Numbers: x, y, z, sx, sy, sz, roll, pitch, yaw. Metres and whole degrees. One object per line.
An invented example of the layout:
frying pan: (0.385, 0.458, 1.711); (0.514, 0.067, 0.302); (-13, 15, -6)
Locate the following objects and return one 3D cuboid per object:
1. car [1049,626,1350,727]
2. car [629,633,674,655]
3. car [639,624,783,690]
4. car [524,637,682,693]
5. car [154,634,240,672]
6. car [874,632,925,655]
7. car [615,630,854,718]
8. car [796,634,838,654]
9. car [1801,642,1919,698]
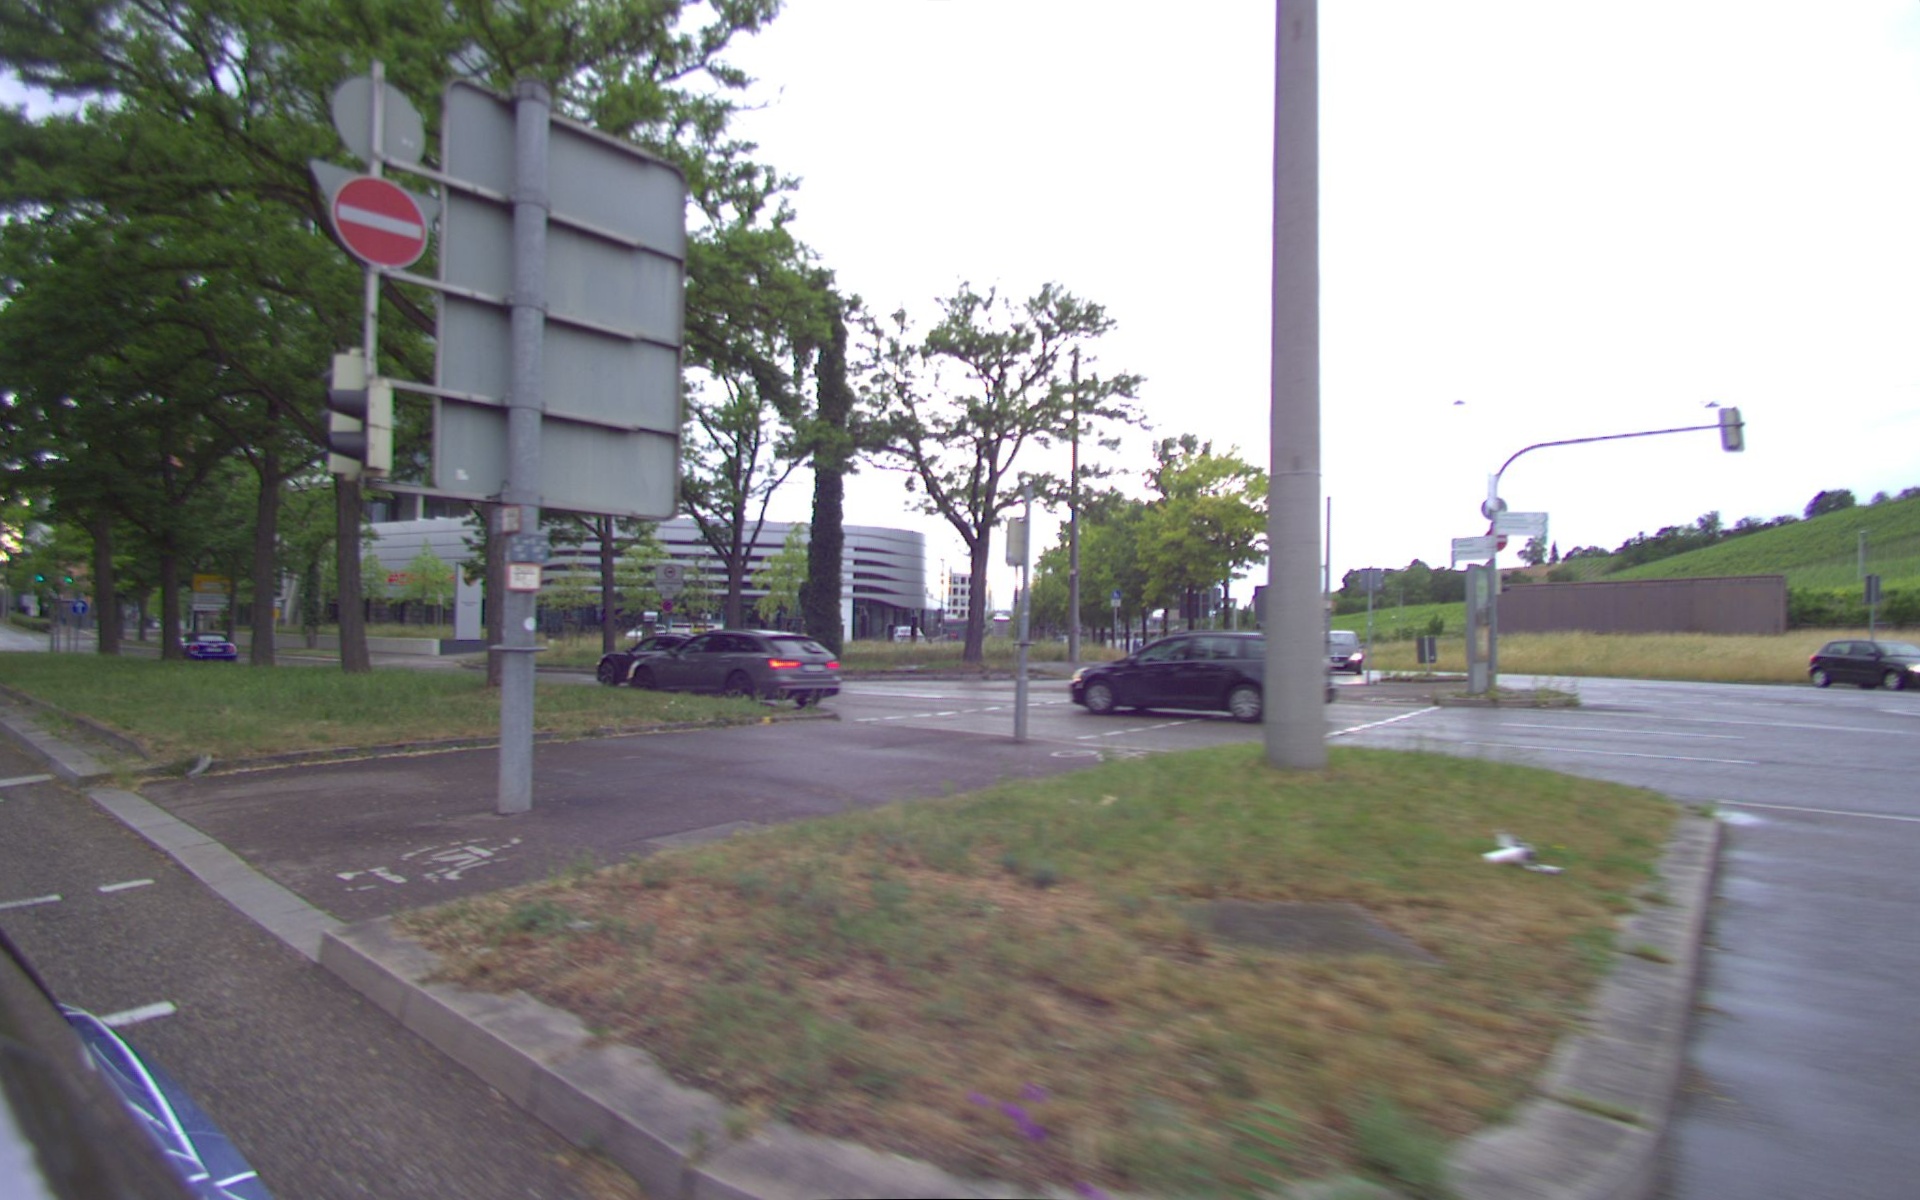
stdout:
car: (3.949, 1.222, 17.164); (4.662, 1.484, 1.806); (-2, -3, 39)
car: (-22.281, 3.149, 73.188); (1.756, 1.423, 3.994); (-1, 0, 5)
car: (-7.441, 1.758, 30.076); (4.561, 1.636, 1.811); (-7, -9, 39)
car: (-9.617, 1.697, 27.093); (4.663, 1.373, 1.806); (-2, -3, 39)
car: (-30.507, 2.089, 40.431); (3.876, 1.406, 1.769); (-1, -2, 38)
car: (-3.772, 2.644, 62.403); (1.592, 1.254, 4.013); (-1, 0, -28)
car: (-4.438, 1.348, 19.508); (4.886, 1.500, 1.883); (-2, -3, 39)
car: (-10.561, 3.233, 75.099); (1.606, 1.334, 3.978); (-1, 0, 17)
car: (26.337, 1.941, 28.540); (1.773, 1.299, 4.002); (-1, 0, -2)
